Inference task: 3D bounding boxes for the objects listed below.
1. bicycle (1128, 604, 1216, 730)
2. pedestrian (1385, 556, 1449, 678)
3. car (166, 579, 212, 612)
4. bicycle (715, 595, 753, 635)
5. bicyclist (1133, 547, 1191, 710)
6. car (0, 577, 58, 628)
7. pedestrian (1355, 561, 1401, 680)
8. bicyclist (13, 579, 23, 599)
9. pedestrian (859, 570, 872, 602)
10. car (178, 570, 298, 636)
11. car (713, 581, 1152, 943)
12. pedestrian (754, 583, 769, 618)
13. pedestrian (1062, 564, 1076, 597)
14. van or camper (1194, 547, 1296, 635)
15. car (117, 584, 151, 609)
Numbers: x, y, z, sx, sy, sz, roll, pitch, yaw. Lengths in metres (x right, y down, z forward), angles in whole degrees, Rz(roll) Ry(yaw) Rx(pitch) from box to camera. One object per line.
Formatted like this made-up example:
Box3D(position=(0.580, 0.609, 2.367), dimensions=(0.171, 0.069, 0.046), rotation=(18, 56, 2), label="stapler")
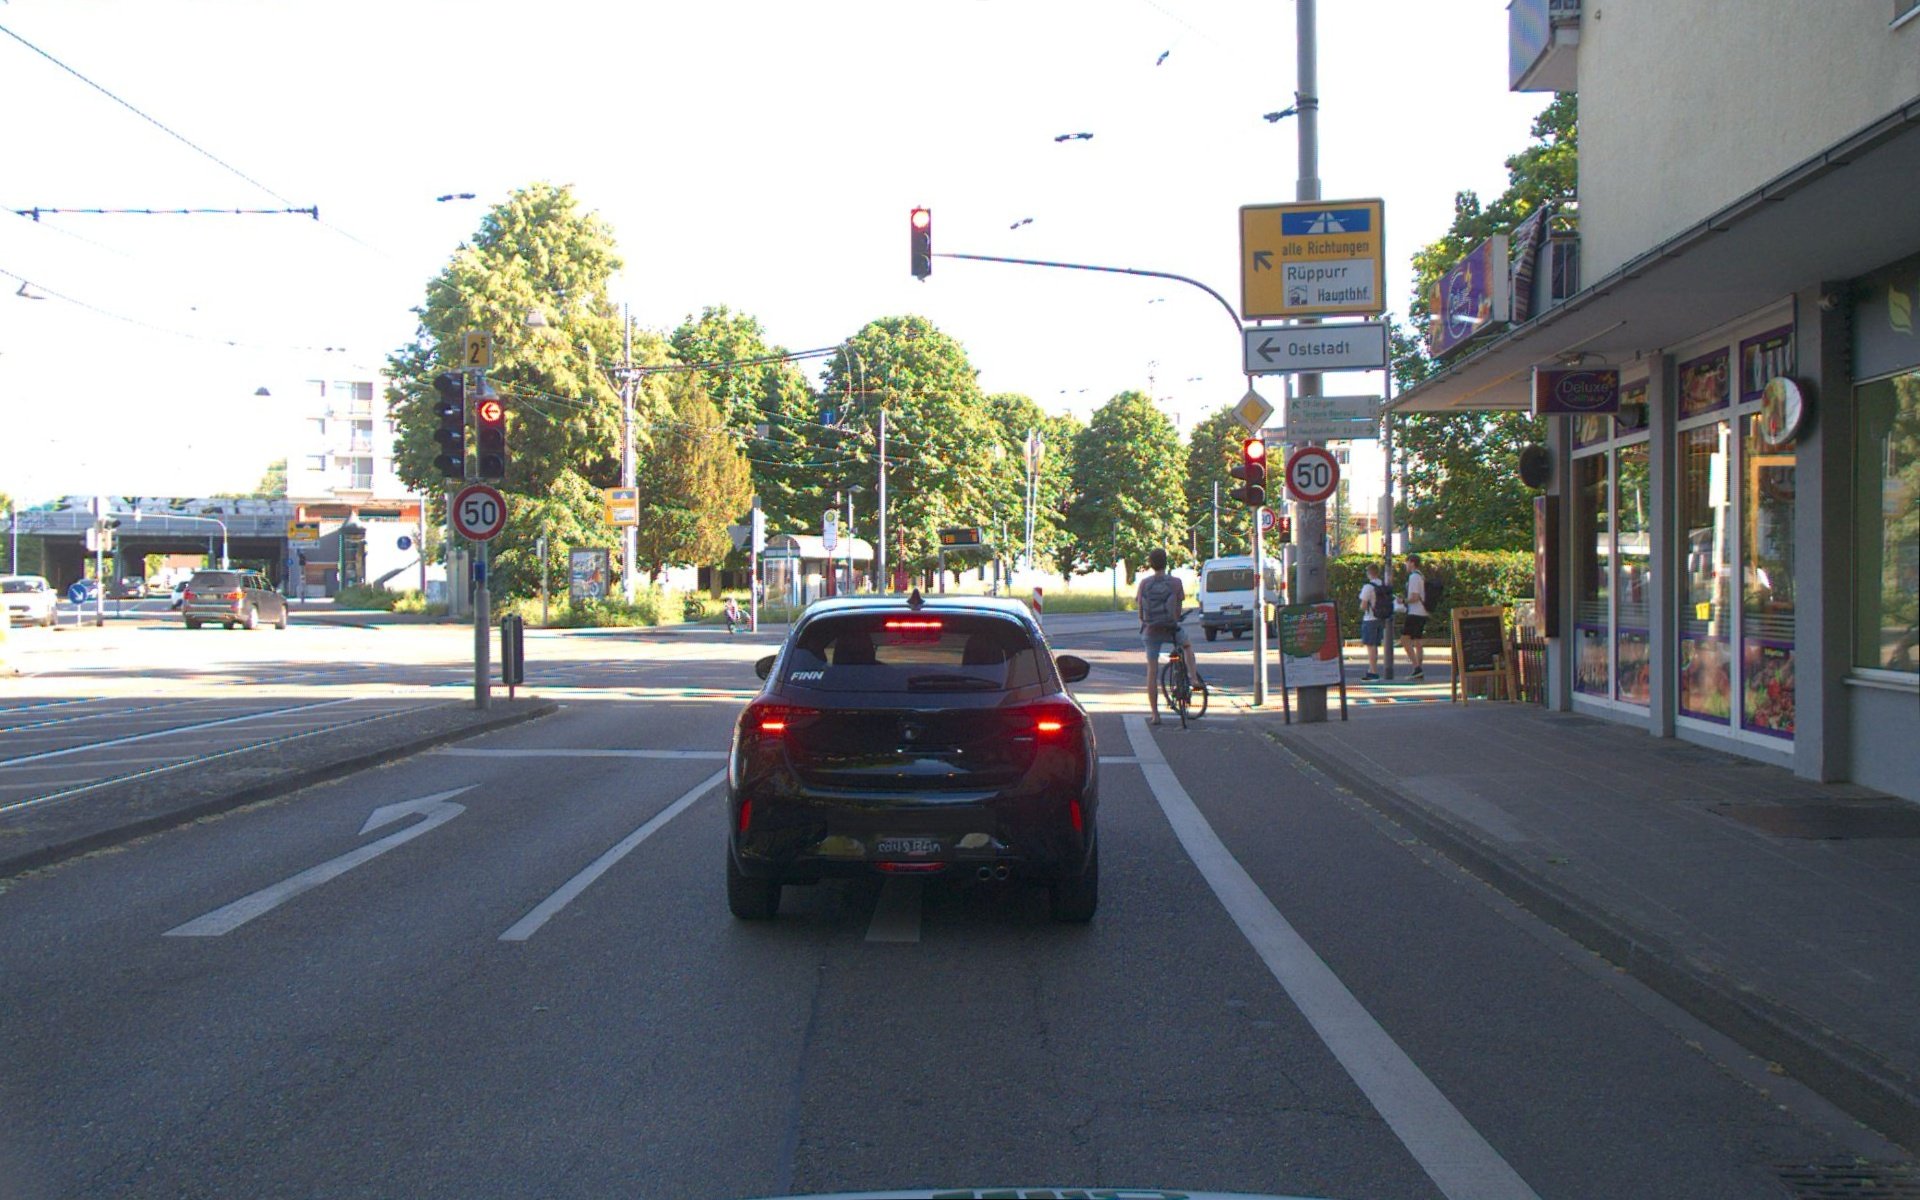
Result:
Box3D(position=(2.326, 0.690, 17.964), dimensions=(0.737, 1.256, 2.017), rotation=(0, 1, 14), label="bicycle")
Box3D(position=(7.075, 0.252, 25.606), dimensions=(0.732, 1.852, 0.631), rotation=(0, -1, 41), label="pedestrian")
Box3D(position=(-38.574, -0.230, 82.698), dimensions=(1.967, 1.579, 4.160), rotation=(1, 0, -27), label="car")
Box3D(position=(-6.299, 0.399, 46.100), dimensions=(0.780, 1.083, 2.184), rotation=(0, 1, -1), label="bicycle")
Box3D(position=(2.177, 0.295, 17.790), dimensions=(0.522, 1.722, 0.568), rotation=(0, 0, 16), label="bicyclist")
Box3D(position=(-31.272, 0.067, 55.036), dimensions=(1.860, 1.613, 3.809), rotation=(1, 0, -24), label="car")
Box3D(position=(6.449, 0.314, 25.487), dimensions=(0.620, 1.794, 0.582), rotation=(1, -1, 19), label="pedestrian")
Box3D(position=(-58.065, -0.670, 101.989), dimensions=(0.520, 1.244, 0.525), rotation=(0, 0, -29), label="bicyclist")
Box3D(position=(-5.637, -0.823, 98.730), dimensions=(0.723, 1.904, 0.661), rotation=(1, -1, -7), label="pedestrian")
Box3D(position=(-22.218, 0.053, 51.110), dimensions=(1.871, 1.914, 4.842), rotation=(-1, 1, -4), label="car")
Box3D(position=(-0.140, 0.650, 8.812), dimensions=(1.803, 1.487, 3.983), rotation=(0, 1, -1), label="car")
Box3D(position=(-8.605, 0.001, 71.637), dimensions=(0.558, 1.498, 0.666), rotation=(0, 0, 2), label="pedestrian")
Box3D(position=(6.340, -1.140, 96.353), dimensions=(0.510, 1.904, 0.602), rotation=(0, -1, 40), label="pedestrian")
Box3D(position=(8.058, -0.226, 46.401), dimensions=(1.987, 2.351, 4.540), rotation=(1, 0, 20), label="van or camper")
Box3D(position=(-56.262, -0.247, 112.689), dimensions=(1.860, 1.613, 3.809), rotation=(1, 0, -24), label="car")
